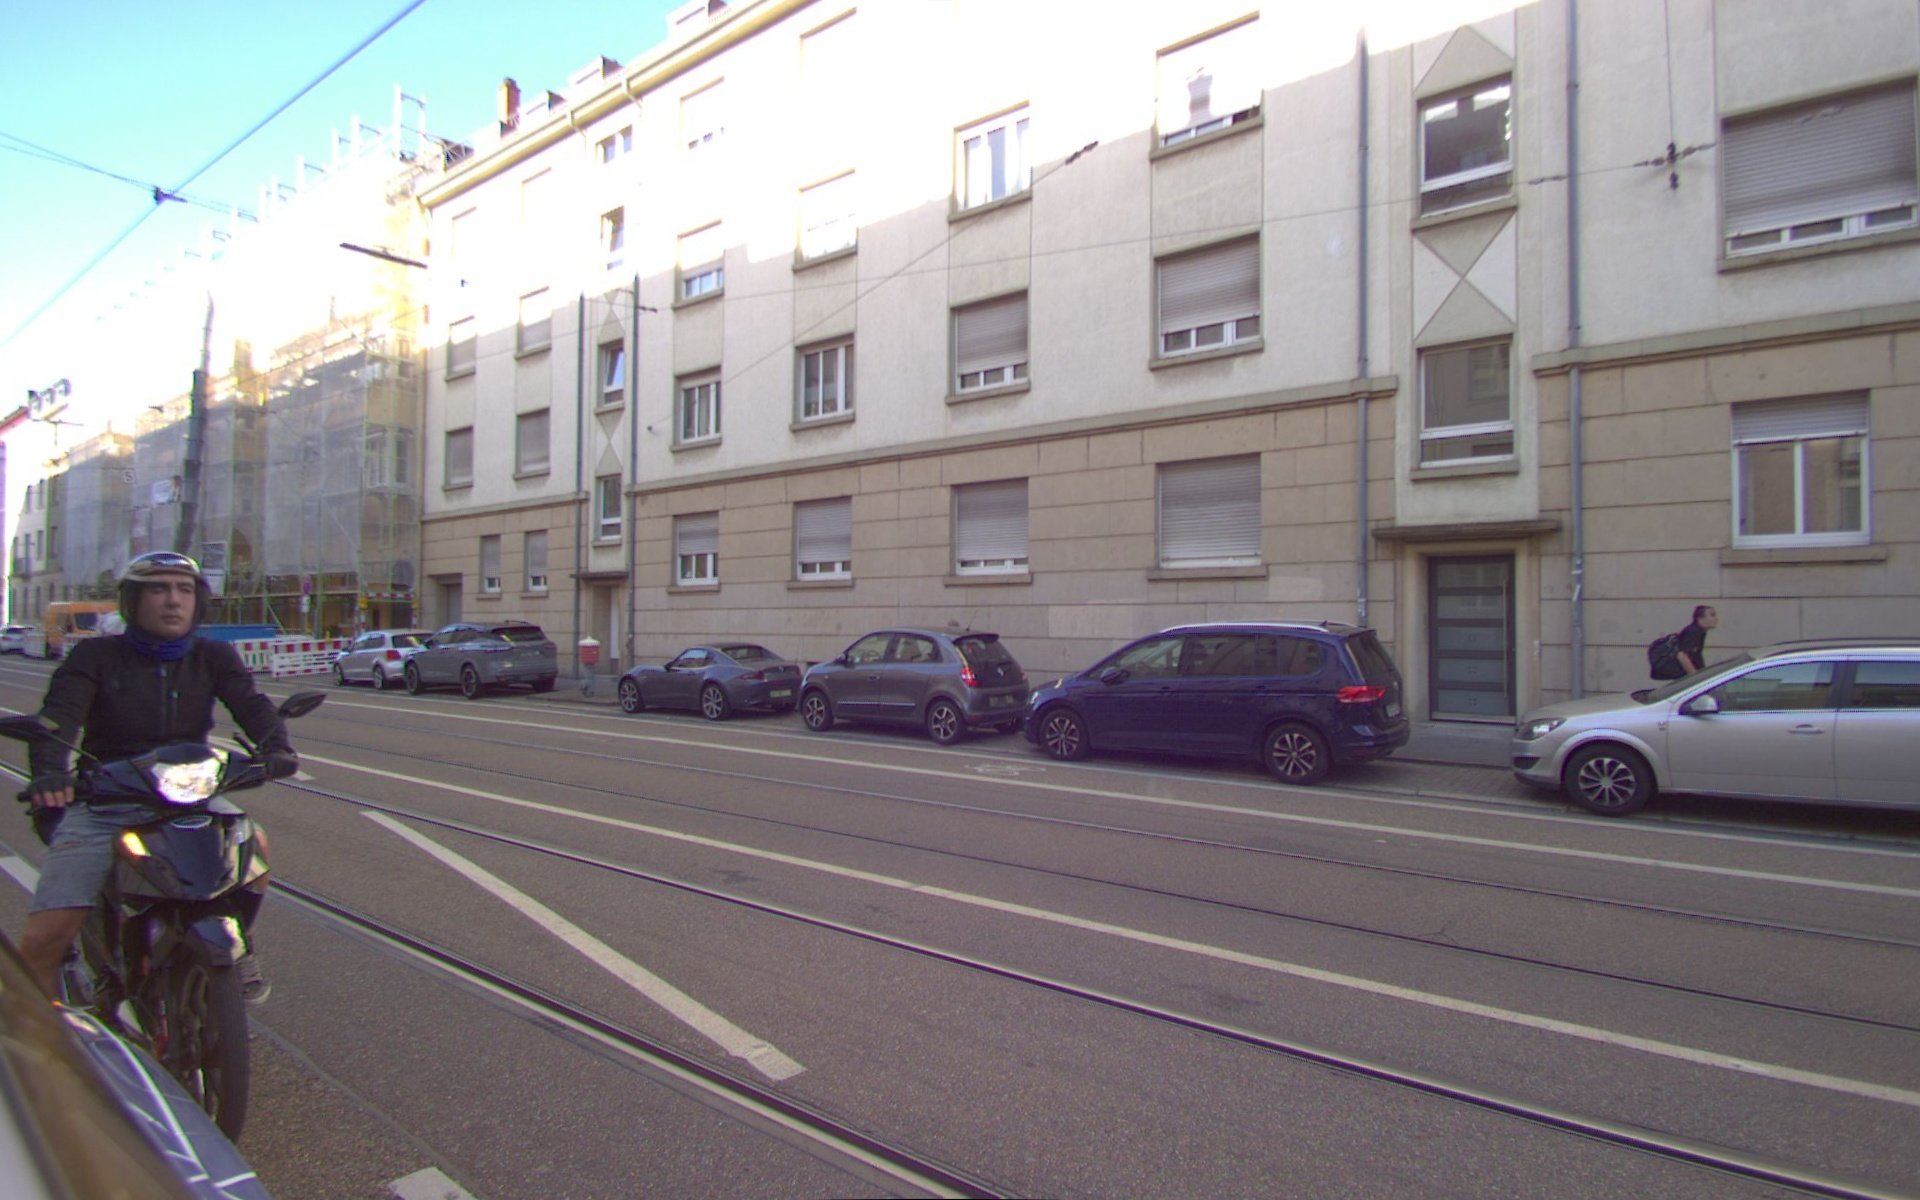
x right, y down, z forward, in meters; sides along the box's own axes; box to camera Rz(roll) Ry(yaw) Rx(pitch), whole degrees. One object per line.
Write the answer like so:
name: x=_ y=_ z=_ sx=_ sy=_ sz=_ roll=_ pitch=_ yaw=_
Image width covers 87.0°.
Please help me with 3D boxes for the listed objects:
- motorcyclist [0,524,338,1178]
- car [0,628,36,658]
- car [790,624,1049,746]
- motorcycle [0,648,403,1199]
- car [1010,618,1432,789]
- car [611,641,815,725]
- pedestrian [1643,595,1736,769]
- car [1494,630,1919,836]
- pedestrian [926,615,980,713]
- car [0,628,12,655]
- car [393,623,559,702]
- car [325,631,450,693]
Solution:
motorcyclist: x=-2.559 y=0.658 z=3.169 sx=0.899 sy=1.668 sz=0.781 roll=-2 pitch=-3 yaw=41
car: x=-50.082 y=2.273 z=53.350 sx=3.964 sy=1.498 sz=1.662 roll=-2 pitch=-1 yaw=42
car: x=-0.644 y=1.136 z=14.663 sx=3.535 sy=1.539 sz=1.659 roll=-1 pitch=-1 yaw=38
motorcycle: x=-2.656 y=0.819 z=3.246 sx=2.272 sy=1.302 sz=0.781 roll=-2 pitch=-3 yaw=41
car: x=2.876 y=1.036 z=11.685 sx=4.383 sy=1.611 sz=1.779 roll=-1 pitch=-1 yaw=38
car: x=-4.330 y=1.369 z=17.509 sx=3.681 sy=1.244 sz=1.502 roll=-1 pitch=-1 yaw=38
pedestrian: x=7.573 y=0.829 z=10.503 sx=0.729 sy=1.722 sz=0.597 roll=-2 pitch=-3 yaw=39
car: x=7.110 y=1.006 z=8.510 sx=4.383 sy=1.489 sz=1.779 roll=-1 pitch=-1 yaw=38
pedestrian: x=-0.114 y=1.022 z=16.437 sx=0.693 sy=1.553 sz=0.563 roll=-2 pitch=-3 yaw=39
car: x=-54.597 y=2.328 z=56.826 sx=3.964 sy=1.498 sz=1.662 roll=-2 pitch=-1 yaw=42
car: x=-10.899 y=1.337 z=22.669 sx=4.201 sy=1.611 sz=1.675 roll=-1 pitch=-1 yaw=38
car: x=-14.400 y=1.501 z=25.406 sx=3.506 sy=1.423 sz=1.524 roll=-1 pitch=-1 yaw=38
